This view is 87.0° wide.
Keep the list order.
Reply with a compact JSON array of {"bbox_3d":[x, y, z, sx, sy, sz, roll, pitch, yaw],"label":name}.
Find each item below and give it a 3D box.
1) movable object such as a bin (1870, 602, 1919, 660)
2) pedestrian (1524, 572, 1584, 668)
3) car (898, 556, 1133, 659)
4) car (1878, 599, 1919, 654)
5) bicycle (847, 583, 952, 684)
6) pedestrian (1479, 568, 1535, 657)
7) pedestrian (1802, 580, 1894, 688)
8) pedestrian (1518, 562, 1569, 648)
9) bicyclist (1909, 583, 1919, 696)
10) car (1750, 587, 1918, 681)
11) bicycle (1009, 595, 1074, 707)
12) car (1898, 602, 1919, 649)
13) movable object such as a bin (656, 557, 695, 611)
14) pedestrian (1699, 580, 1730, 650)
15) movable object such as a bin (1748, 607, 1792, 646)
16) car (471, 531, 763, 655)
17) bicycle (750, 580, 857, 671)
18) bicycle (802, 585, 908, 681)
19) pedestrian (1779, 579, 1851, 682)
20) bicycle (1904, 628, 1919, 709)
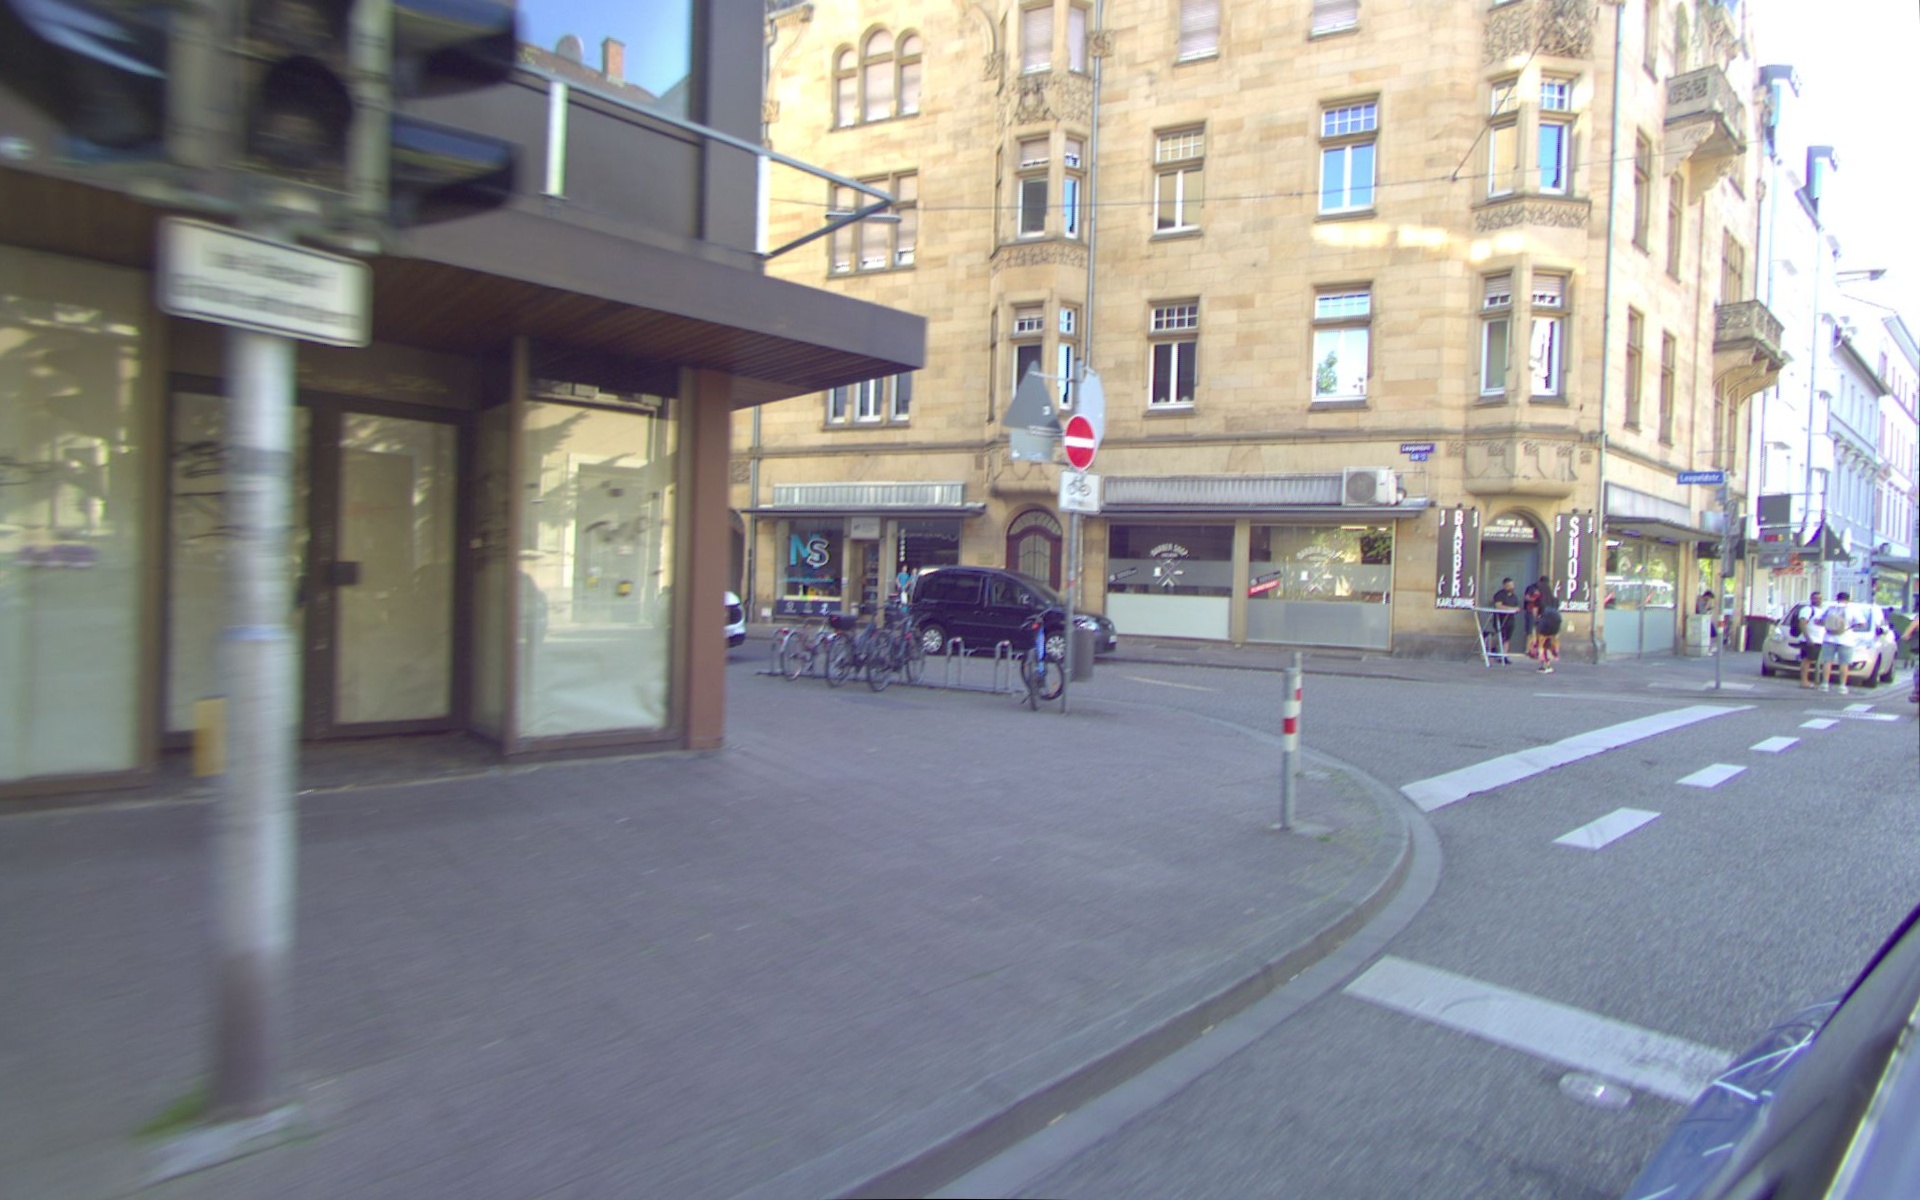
[{"bbox_3d":[25.562,0.821,27.310,1.385,1.438,1.149,1,4,-38],"label":"movable object such as a bin"},{"bbox_3d":[10.989,0.354,18.750,0.663,1.712,0.619,2,3,3],"label":"pedestrian"},{"bbox_3d":[1.115,0.092,20.381,4.272,1.793,1.983,2,1,25],"label":"car"},{"bbox_3d":[30.407,0.851,31.668,3.930,1.593,1.998,1,4,-42],"label":"car"},{"bbox_3d":[-0.732,0.434,13.044,0.566,1.176,2.004,2,-2,19],"label":"bicycle"},{"bbox_3d":[10.835,0.240,20.067,0.701,1.713,0.621,1,1,-14],"label":"pedestrian"},{"bbox_3d":[15.047,0.567,17.164,0.876,1.740,0.697,3,3,-17],"label":"pedestrian"},{"bbox_3d":[11.813,0.104,20.493,0.701,1.713,0.500,1,1,-14],"label":"pedestrian"},{"bbox_3d":[14.024,0.571,14.381,0.893,1.590,0.658,1,1,-41],"label":"bicyclist"},{"bbox_3d":[17.858,0.628,20.629,4.055,1.593,1.978,1,4,-42],"label":"car"},{"bbox_3d":[0.977,0.545,11.806,0.564,1.176,1.740,3,1,9],"label":"bicycle"},{"bbox_3d":[33.491,0.911,34.313,3.930,1.509,1.998,1,4,-42],"label":"car"},{"bbox_3d":[-7.858,-0.448,27.984,0.753,1.434,0.678,3,1,26],"label":"movable object such as a bin"},{"bbox_3d":[19.557,0.384,26.240,0.534,1.764,0.588,2,1,44],"label":"pedestrian"},{"bbox_3d":[23.879,0.779,29.836,0.650,1.061,0.727,4,3,-31],"label":"movable object such as a bin"},{"bbox_3d":[-6.201,-0.185,18.280,4.900,1.953,2.101,2,1,25],"label":"car"},{"bbox_3d":[-2.109,0.360,13.893,0.567,1.147,1.731,2,-2,23],"label":"bicycle"},{"bbox_3d":[-1.340,0.441,13.347,0.566,1.147,1.913,2,-2,19],"label":"bicycle"},{"bbox_3d":[15.129,0.520,17.920,0.692,1.740,0.689,5,3,26],"label":"pedestrian"},{"bbox_3d":[13.969,0.966,14.353,1.804,1.081,0.666,1,1,-42],"label":"bicycle"}]
